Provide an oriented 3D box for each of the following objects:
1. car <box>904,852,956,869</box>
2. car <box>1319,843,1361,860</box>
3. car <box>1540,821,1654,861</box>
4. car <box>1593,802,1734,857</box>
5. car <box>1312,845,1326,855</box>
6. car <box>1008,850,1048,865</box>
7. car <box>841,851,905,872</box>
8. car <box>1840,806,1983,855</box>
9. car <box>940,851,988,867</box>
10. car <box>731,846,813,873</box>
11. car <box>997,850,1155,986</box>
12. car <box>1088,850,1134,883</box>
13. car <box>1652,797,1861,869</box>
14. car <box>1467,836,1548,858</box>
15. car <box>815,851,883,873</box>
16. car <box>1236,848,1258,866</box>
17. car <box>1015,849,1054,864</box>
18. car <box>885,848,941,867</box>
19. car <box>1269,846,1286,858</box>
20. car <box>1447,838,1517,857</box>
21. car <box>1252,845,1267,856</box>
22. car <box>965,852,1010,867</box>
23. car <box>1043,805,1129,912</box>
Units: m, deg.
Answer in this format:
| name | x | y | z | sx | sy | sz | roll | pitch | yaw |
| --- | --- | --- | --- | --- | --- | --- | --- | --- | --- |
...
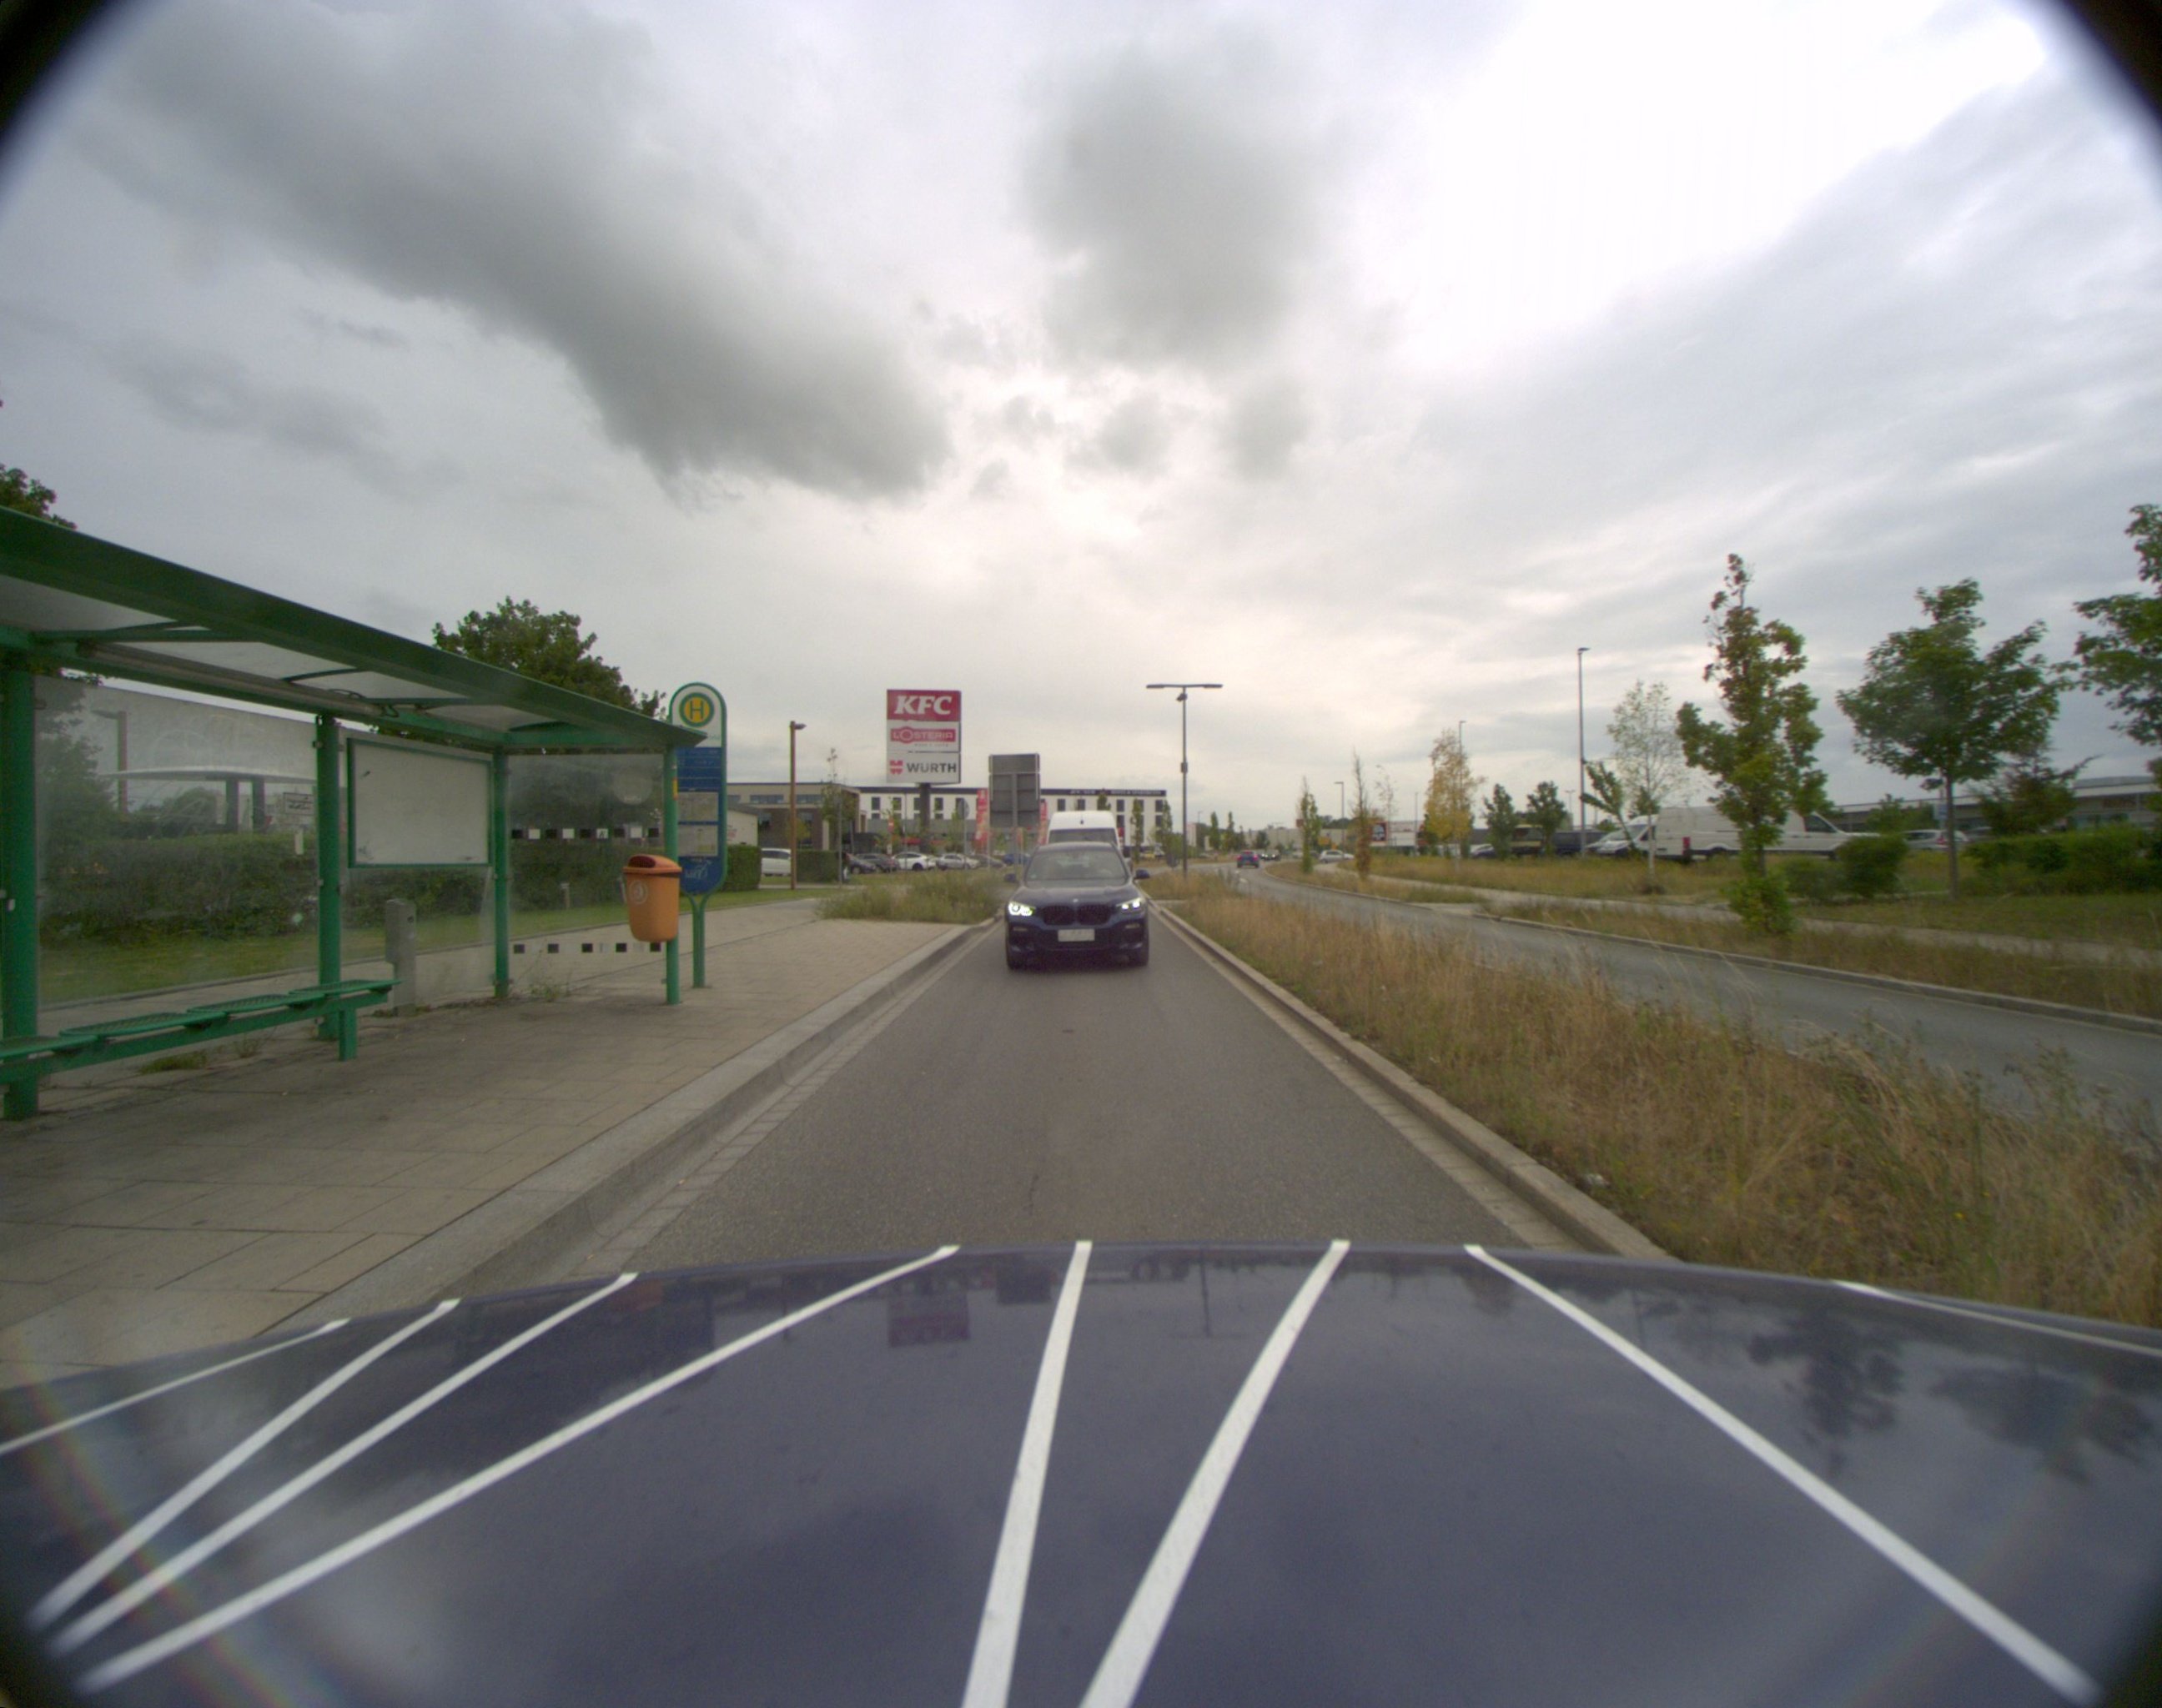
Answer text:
| name | x | y | z | sx | sy | sz | roll | pitch | yaw |
| --- | --- | --- | --- | --- | --- | --- | --- | --- | --- |
| car | -13.186 | 0.578 | 66.411 | 3.994 | 1.477 | 1.848 | 0 | 0 | 8 |
| car | 28.248 | -0.228 | 82.956 | 3.990 | 1.660 | 2.004 | -2 | -1 | 27 |
| car | 29.532 | -0.709 | 43.638 | 5.050 | 2.211 | 2.066 | 0 | 0 | 8 |
| car | 27.558 | -1.165 | 36.074 | 5.053 | 2.359 | 2.064 | -2 | 1 | 1 |
| car | 37.984 | -0.655 | 121.187 | 1.730 | 1.484 | 4.007 | 0 | 0 | 24 |
| car | -5.932 | 0.369 | 84.500 | 3.992 | 1.477 | 1.849 | -2 | 1 | 18 |
| car | -14.831 | 0.523 | 54.349 | 3.994 | 1.477 | 1.848 | 0 | 0 | 9 |
| car | 43.642 | -1.208 | 40.152 | 2.063 | 2.359 | 5.057 | -2 | 1 | 1 |
| car | -10.936 | 0.465 | 70.901 | 3.993 | 1.477 | 1.849 | 0 | 0 | 13 |
| car | -17.947 | 0.332 | 44.312 | 3.996 | 1.519 | 1.847 | 0 | 0 | 1 |
| car | -0.058 | 0.757 | 11.047 | 1.867 | 1.598 | 4.000 | 0 | 0 | 0 |
| car | 1.704 | 0.667 | 41.887 | 1.860 | 1.660 | 4.004 | -2 | -1 | 11 |
| car | 27.403 | -0.839 | 31.017 | 6.413 | 2.609 | 2.065 | -2 | 1 | 5 |
| car | 32.845 | -0.546 | 58.597 | 5.049 | 1.646 | 2.066 | 0 | 0 | 11 |
| car | -15.721 | 0.519 | 51.619 | 3.994 | 1.477 | 1.848 | 0 | 0 | 9 |
| car | 14.810 | 0.263 | 67.926 | 1.732 | 1.504 | 4.003 | 0 | 0 | 9 |
| car | -5.332 | 0.294 | 87.116 | 3.992 | 1.477 | 1.849 | -2 | 1 | 18 |
| car | -13.529 | 0.279 | 61.222 | 3.994 | 1.513 | 1.848 | 0 | 0 | 9 |
| car | 26.832 | -0.300 | 103.710 | 1.996 | 1.565 | 4.004 | -2 | 1 | 17 |
| car | 34.796 | -0.543 | 66.067 | 5.049 | 1.646 | 2.066 | 0 | 0 | 11 |
| car | 27.384 | -0.604 | 116.780 | 1.997 | 1.565 | 4.003 | -2 | 1 | 11 |
| car | -9.261 | 0.508 | 75.414 | 3.993 | 1.477 | 1.849 | 0 | 0 | 13 |
| car | 0.115 | 0.100 | 20.997 | 2.026 | 2.513 | 6.104 | 0 | 0 | 0 |
